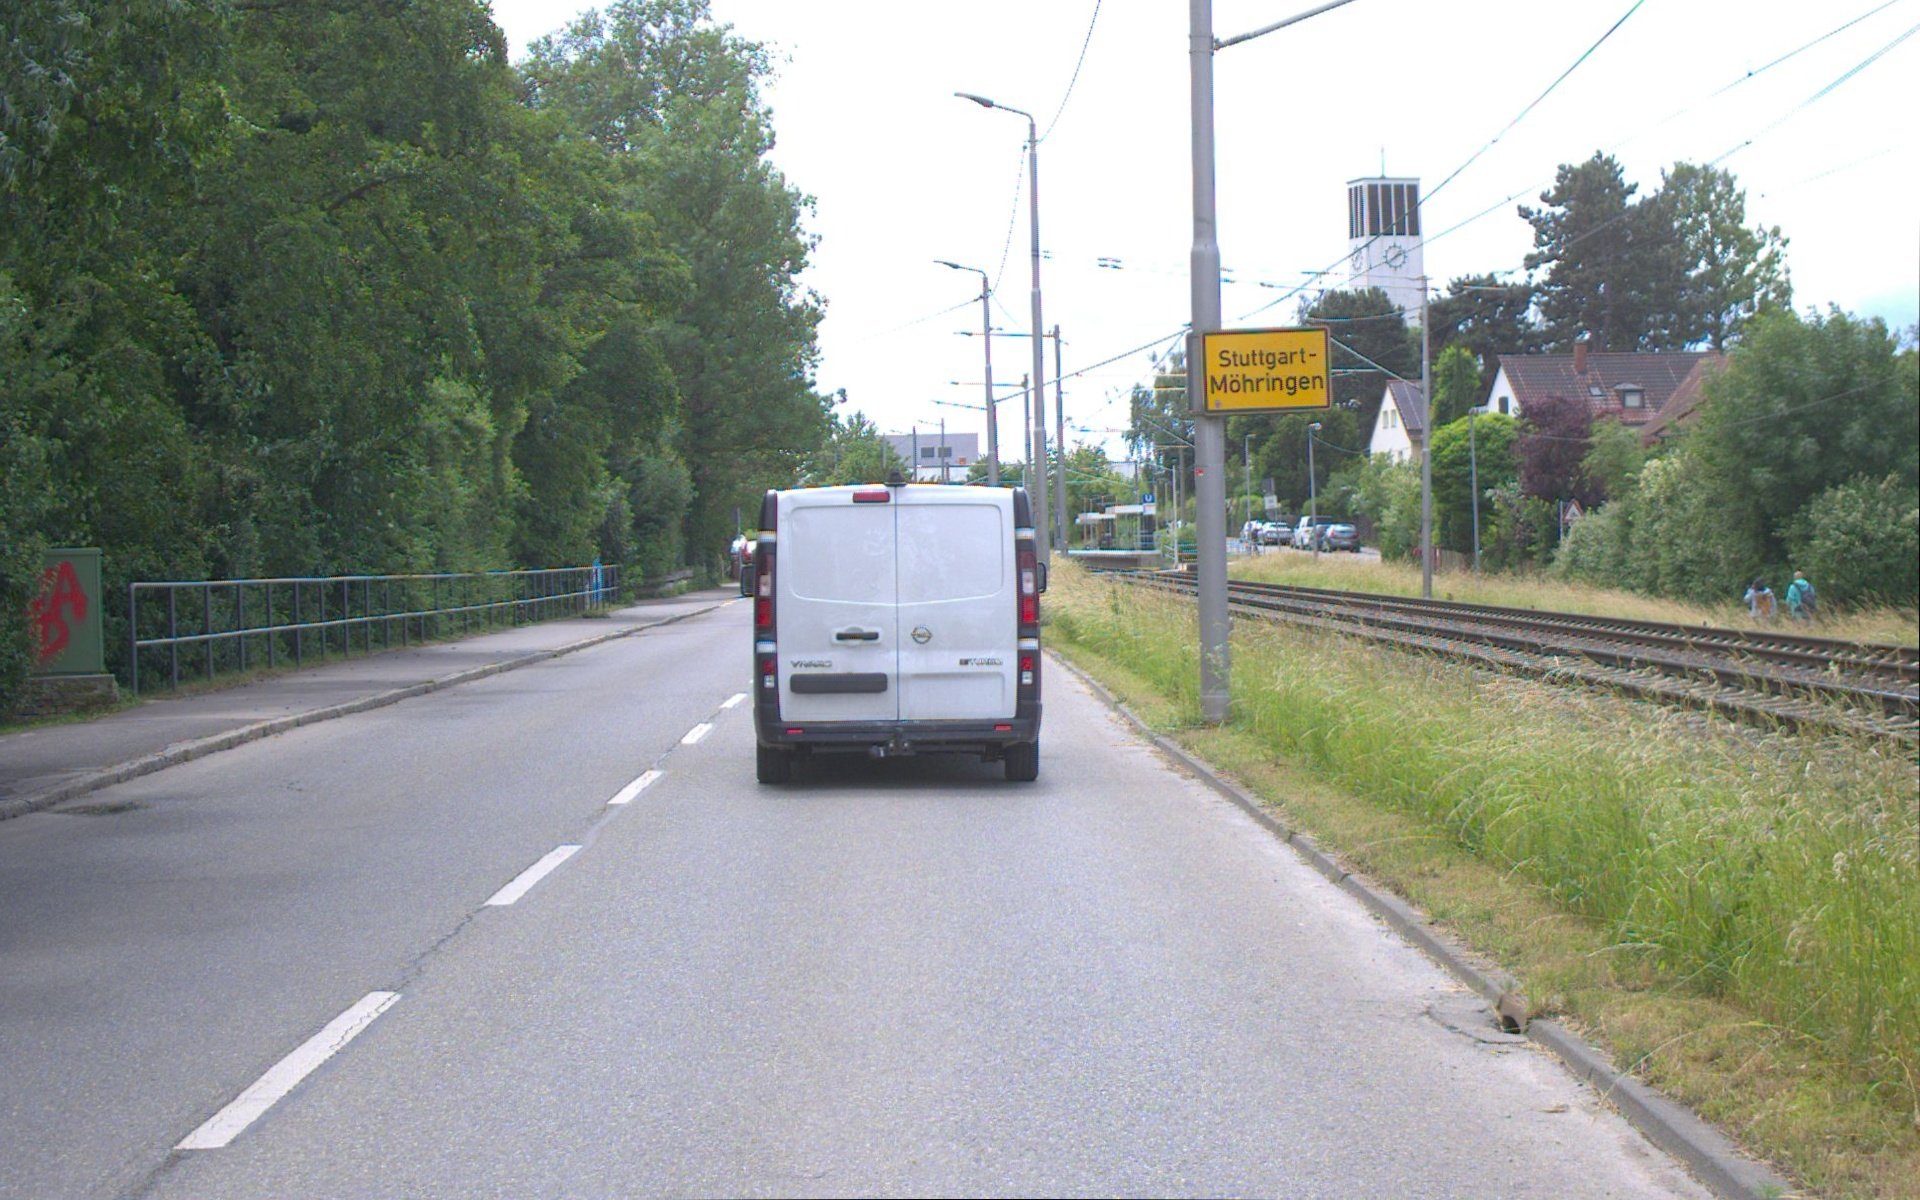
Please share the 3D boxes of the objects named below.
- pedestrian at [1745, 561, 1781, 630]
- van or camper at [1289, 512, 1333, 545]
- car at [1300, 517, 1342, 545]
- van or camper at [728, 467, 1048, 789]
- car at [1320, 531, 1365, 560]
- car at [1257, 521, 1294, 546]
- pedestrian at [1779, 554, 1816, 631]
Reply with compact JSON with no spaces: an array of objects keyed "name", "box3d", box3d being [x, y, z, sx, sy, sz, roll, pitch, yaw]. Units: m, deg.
[{"name":"pedestrian","box3d":[16.898,-0.096,72.360,0.598,1.426,0.666,1,1,0]},{"name":"van or camper","box3d":[19.805,-4.052,194.179,1.905,1.819,5.048,-1,1,0]},{"name":"car","box3d":[19.894,-3.799,189.461,1.883,1.517,4.000,-1,1,0]},{"name":"van or camper","box3d":[-0.470,0.149,23.688,1.993,2.007,4.446,0,1,-1]},{"name":"car","box3d":[20.386,-2.916,183.372,1.883,1.517,4.000,-1,1,0]},{"name":"car","box3d":[19.793,-4.157,215.888,1.883,1.517,4.000,-1,1,0]},{"name":"pedestrian","box3d":[17.618,-0.162,72.303,0.616,1.616,0.584,1,1,0]}]
